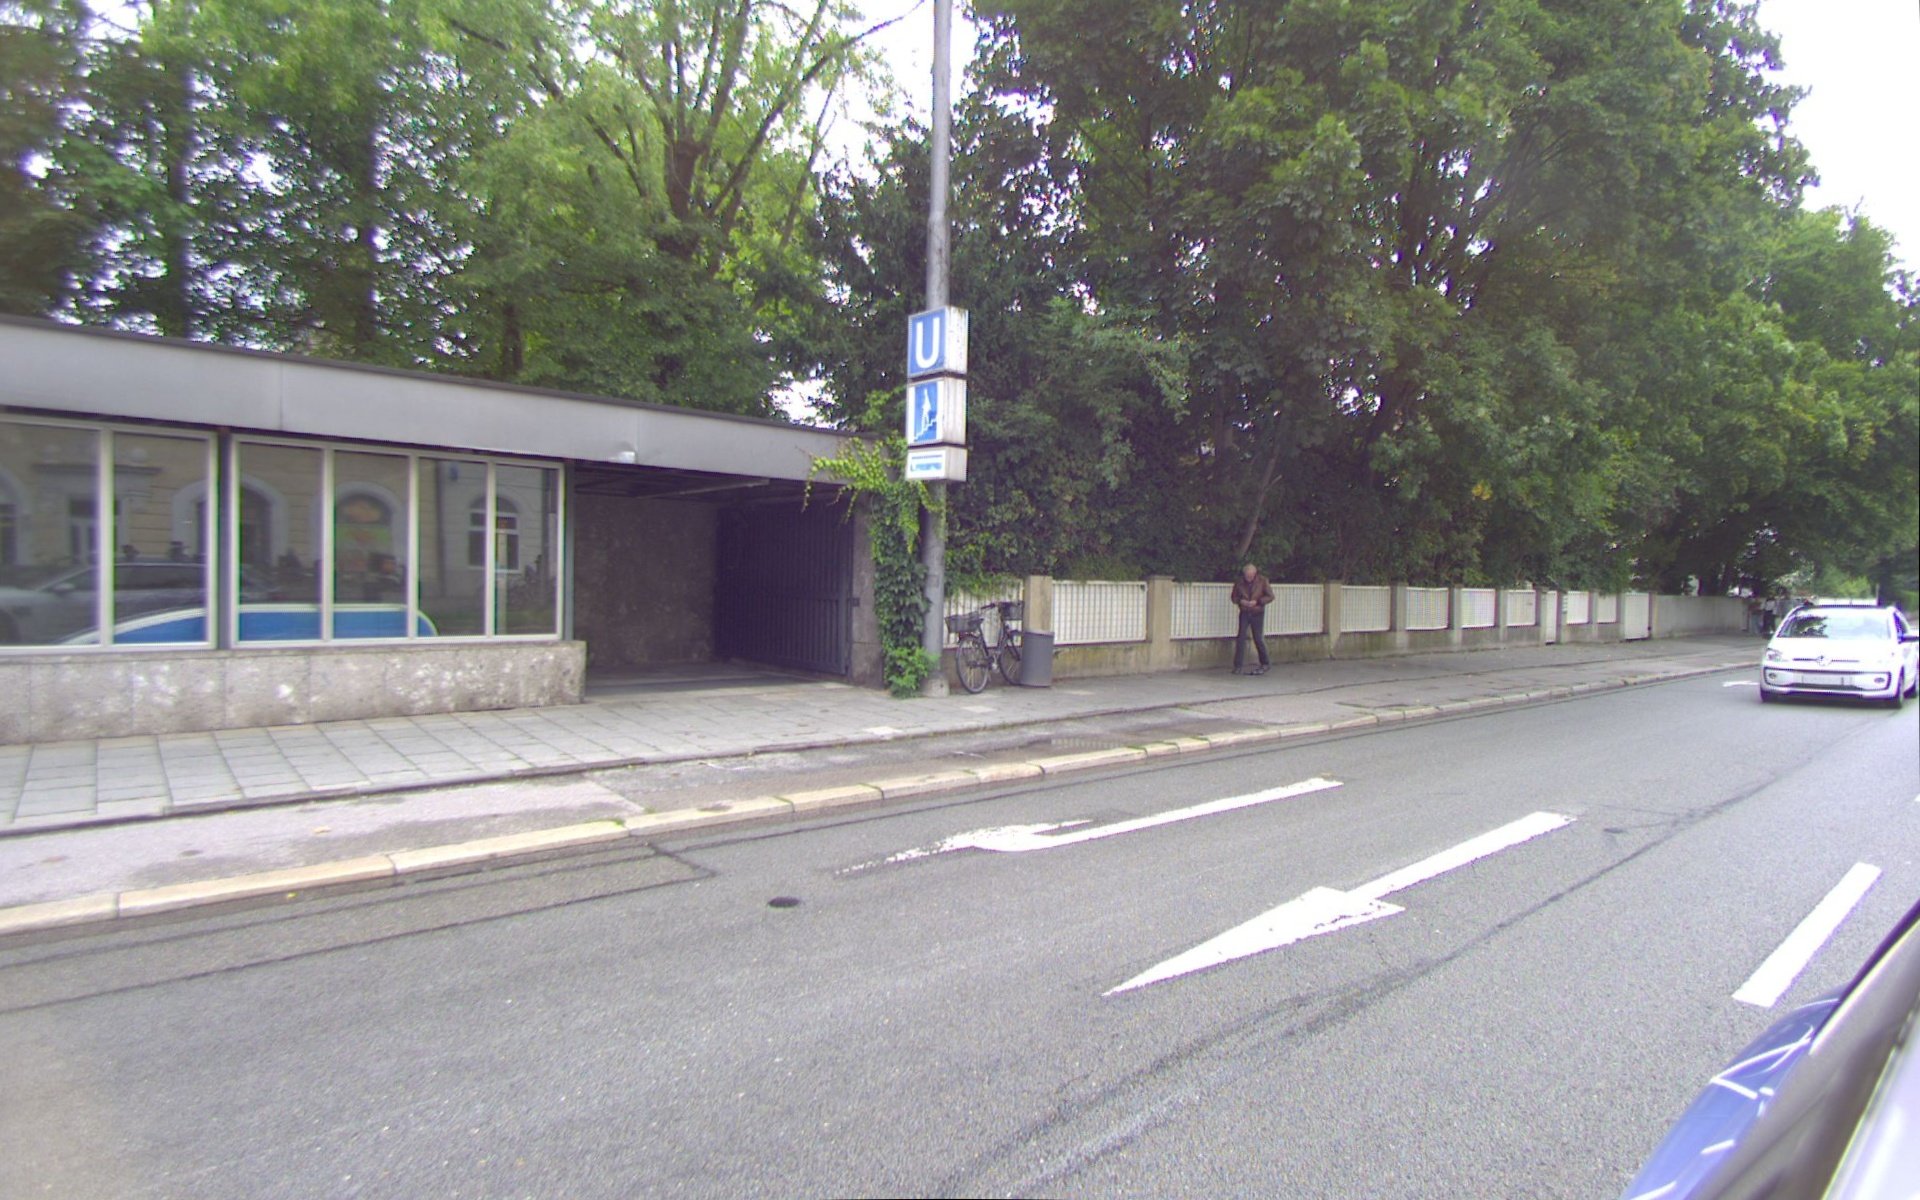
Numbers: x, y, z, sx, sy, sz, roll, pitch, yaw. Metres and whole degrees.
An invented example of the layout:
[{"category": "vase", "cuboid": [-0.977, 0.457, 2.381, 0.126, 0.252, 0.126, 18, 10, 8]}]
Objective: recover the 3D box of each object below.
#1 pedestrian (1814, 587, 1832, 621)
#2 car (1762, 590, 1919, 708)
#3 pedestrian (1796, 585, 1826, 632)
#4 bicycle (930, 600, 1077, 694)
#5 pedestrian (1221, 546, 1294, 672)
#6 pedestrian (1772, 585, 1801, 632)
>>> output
[{"category": "pedestrian", "cuboid": [42.474, 0.189, 49.815, 0.716, 1.600, 0.529, 0, 3, -42]}, {"category": "car", "cuboid": [13.758, 0.660, 15.567, 3.524, 1.581, 1.645, 0, 1, -42]}, {"category": "pedestrian", "cuboid": [31.821, 0.320, 37.849, 0.716, 1.713, 0.667, 0, 3, -42]}, {"category": "bicycle", "cuboid": [0.584, 0.558, 12.897, 1.991, 1.104, 0.623, 0, 1, -41]}, {"category": "pedestrian", "cuboid": [4.796, 0.130, 16.322, 0.788, 1.966, 0.779, 0, 2, -40]}, {"category": "pedestrian", "cuboid": [31.373, 0.310, 38.417, 0.753, 1.726, 0.667, 0, 3, -42]}]
